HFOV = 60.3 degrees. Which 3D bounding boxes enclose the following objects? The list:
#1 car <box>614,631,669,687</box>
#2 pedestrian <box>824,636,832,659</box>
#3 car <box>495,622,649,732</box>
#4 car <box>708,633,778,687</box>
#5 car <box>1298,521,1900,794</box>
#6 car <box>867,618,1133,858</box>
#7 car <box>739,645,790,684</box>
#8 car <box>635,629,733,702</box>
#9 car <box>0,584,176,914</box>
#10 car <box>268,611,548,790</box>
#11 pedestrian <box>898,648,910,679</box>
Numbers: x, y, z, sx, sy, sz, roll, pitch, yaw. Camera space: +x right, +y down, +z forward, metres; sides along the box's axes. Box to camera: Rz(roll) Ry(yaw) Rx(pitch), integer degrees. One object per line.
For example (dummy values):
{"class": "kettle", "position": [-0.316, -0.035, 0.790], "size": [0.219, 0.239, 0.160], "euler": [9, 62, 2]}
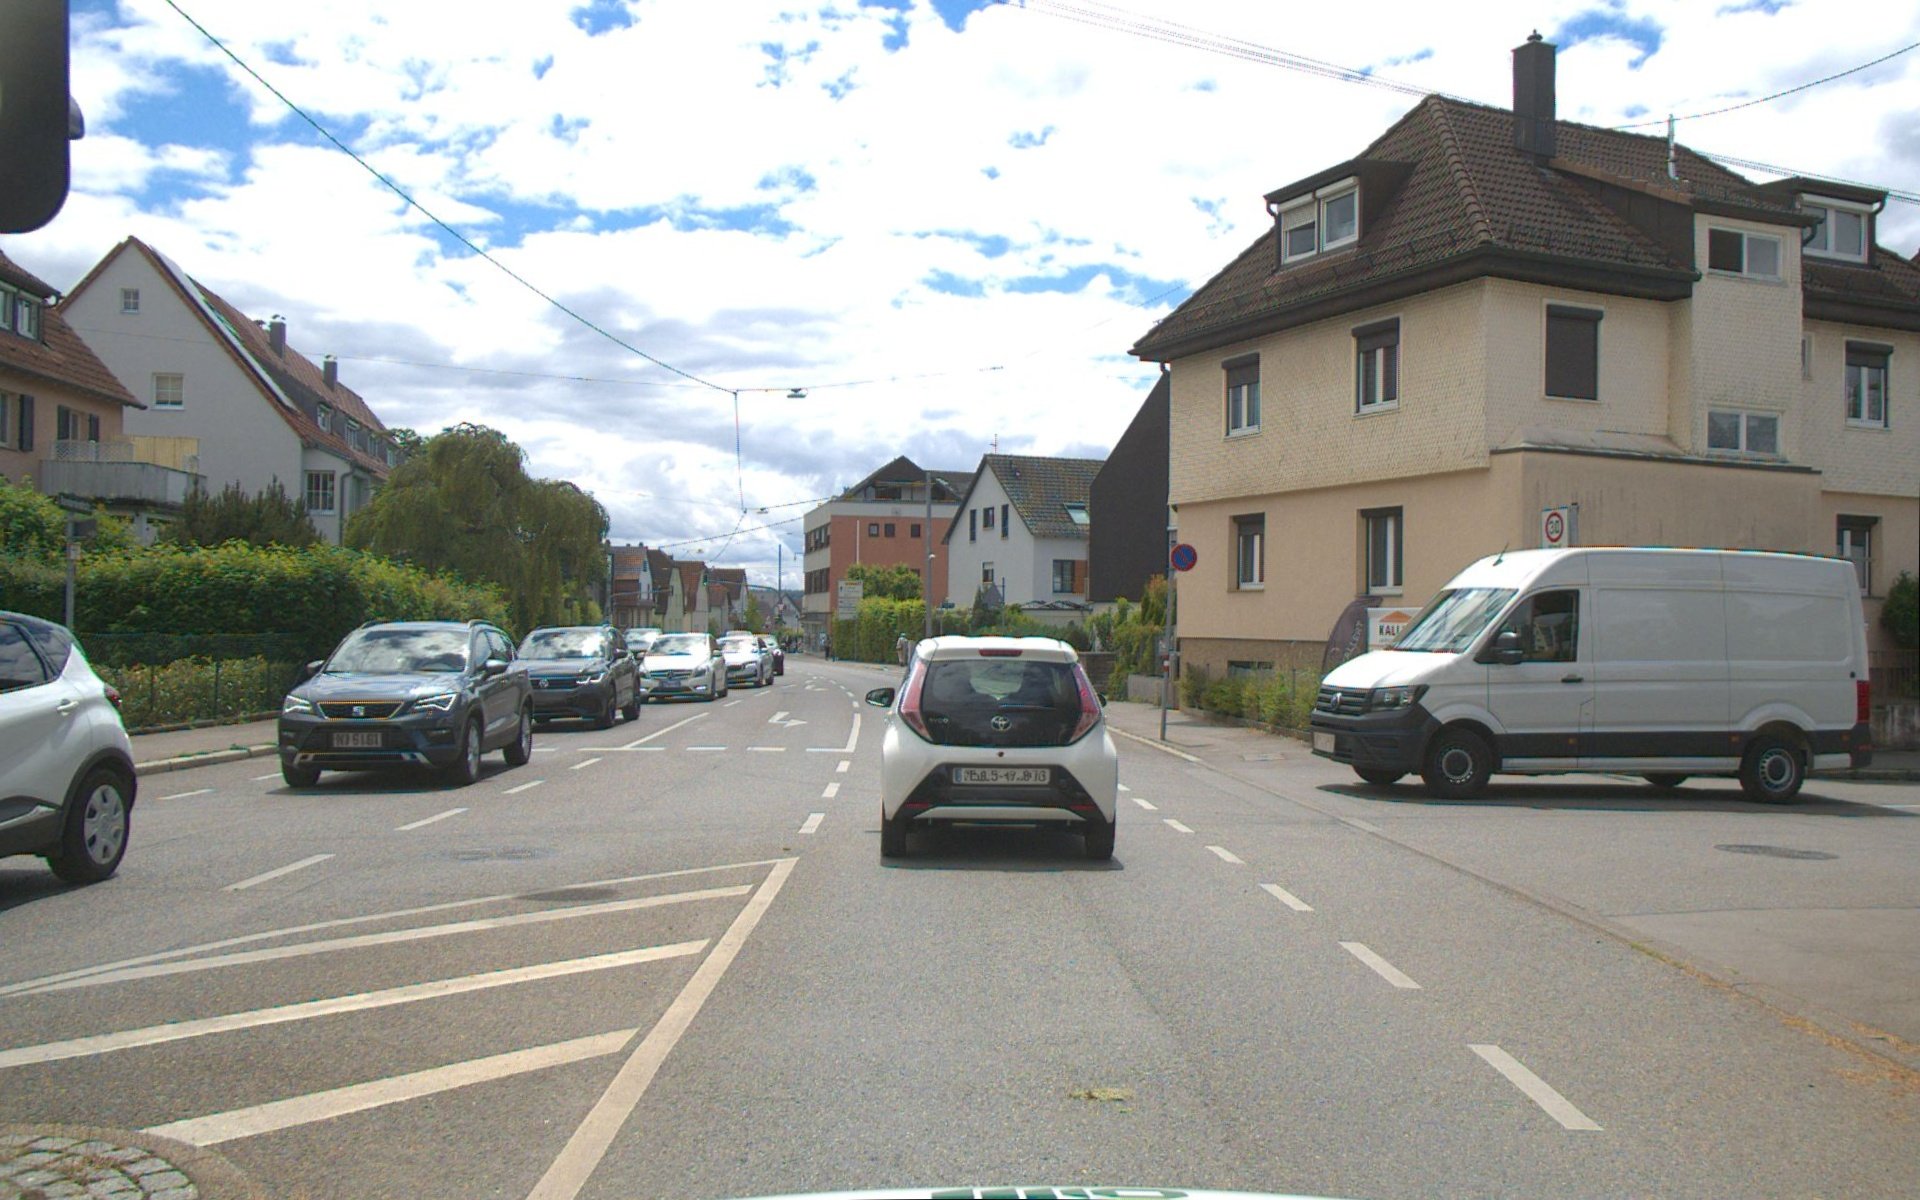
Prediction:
{"class": "car", "position": [-11.452, 2.120, 59.583], "size": [1.742, 1.878, 4.000], "euler": [-1, -2, -9]}
{"class": "pedestrian", "position": [-8.172, 2.940, 102.447], "size": [0.405, 1.463, 0.436], "euler": [2, -2, -10]}
{"class": "car", "position": [-6.348, 1.248, 27.475], "size": [1.739, 1.631, 4.166], "euler": [-1, -2, -3]}
{"class": "car", "position": [-6.294, 1.735, 48.357], "size": [1.740, 1.455, 4.518], "euler": [-1, -2, -4]}
{"class": "car", "position": [6.767, 0.650, 17.642], "size": [5.892, 2.627, 1.993], "euler": [2, -2, -13]}
{"class": "car", "position": [0.153, 0.948, 12.534], "size": [1.589, 1.512, 3.995], "euler": [1, -2, -5]}
{"class": "car", "position": [-7.560, 2.493, 64.241], "size": [1.740, 1.455, 4.005], "euler": [0, -2, -4]}
{"class": "car", "position": [-6.433, 1.526, 38.905], "size": [1.739, 1.589, 4.166], "euler": [-1, -2, -3]}
{"class": "car", "position": [-5.625, 0.746, 8.045], "size": [1.739, 1.631, 4.037], "euler": [-1, -1, -1]}
{"class": "car", "position": [-5.617, 0.994, 17.343], "size": [1.739, 1.631, 4.036], "euler": [-1, -2, -3]}
{"class": "pedestrian", "position": [-2.714, 3.058, 80.035], "size": [0.406, 1.463, 0.436], "euler": [2, -2, -17]}
